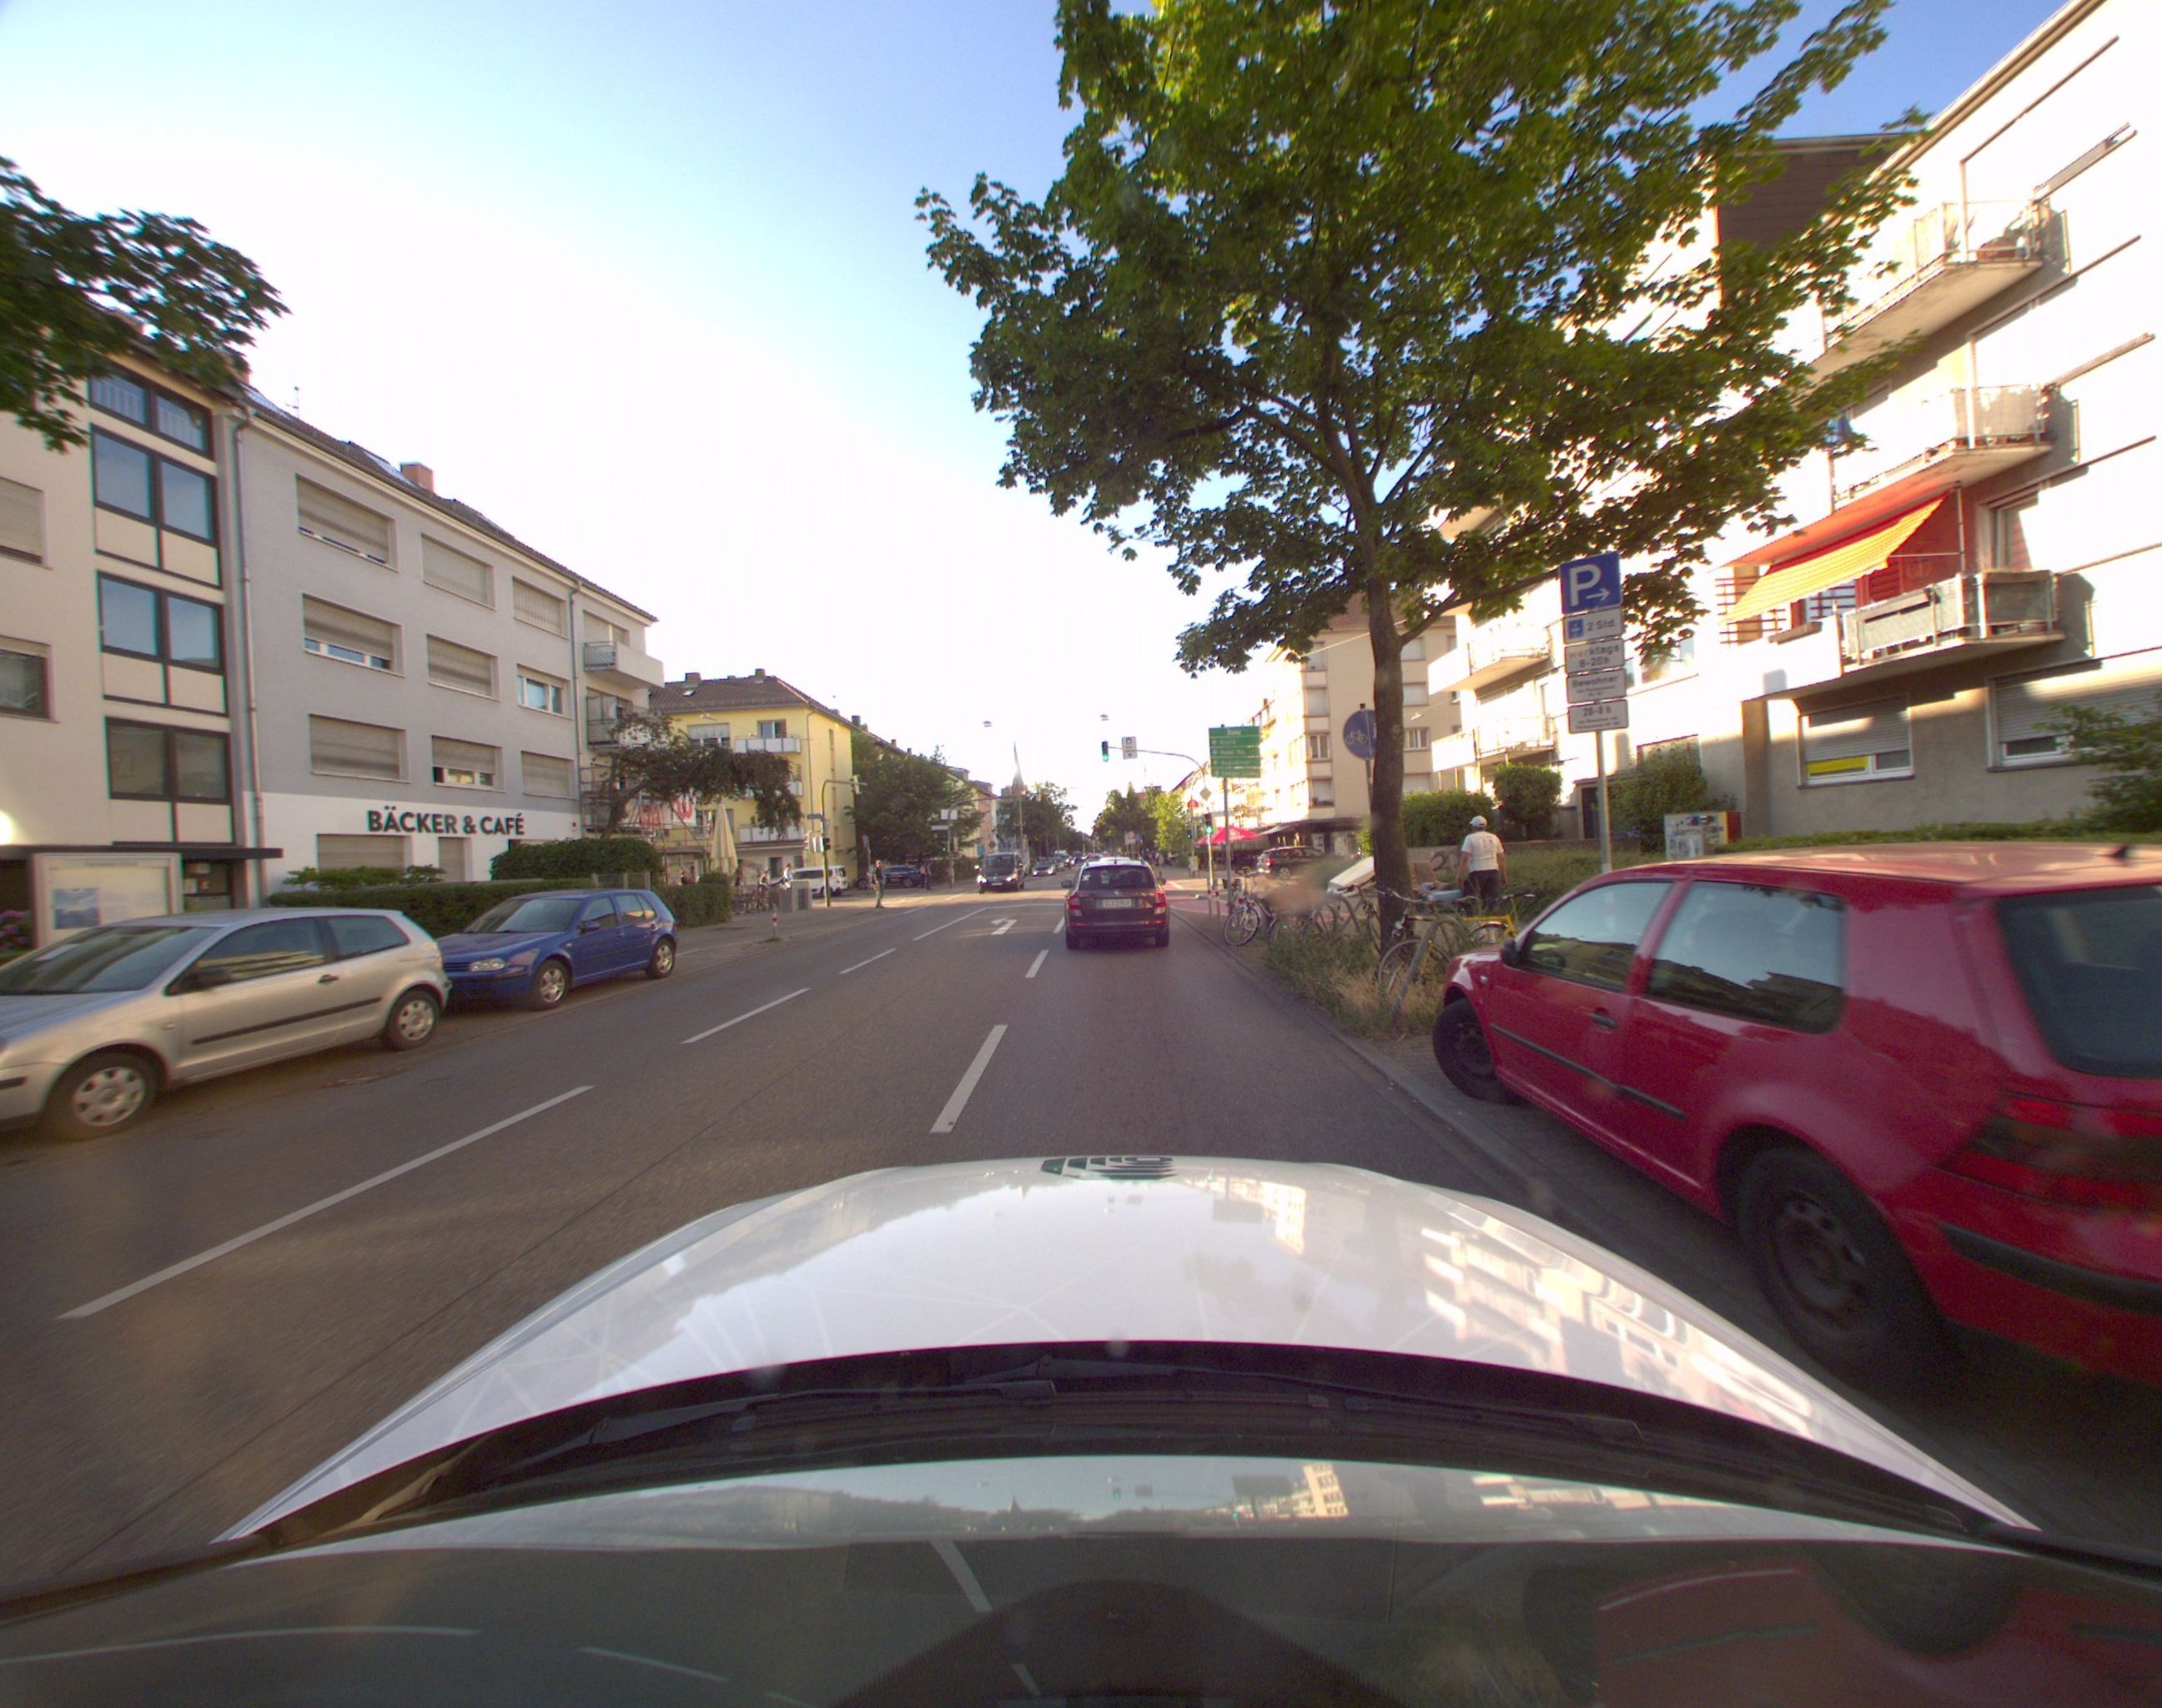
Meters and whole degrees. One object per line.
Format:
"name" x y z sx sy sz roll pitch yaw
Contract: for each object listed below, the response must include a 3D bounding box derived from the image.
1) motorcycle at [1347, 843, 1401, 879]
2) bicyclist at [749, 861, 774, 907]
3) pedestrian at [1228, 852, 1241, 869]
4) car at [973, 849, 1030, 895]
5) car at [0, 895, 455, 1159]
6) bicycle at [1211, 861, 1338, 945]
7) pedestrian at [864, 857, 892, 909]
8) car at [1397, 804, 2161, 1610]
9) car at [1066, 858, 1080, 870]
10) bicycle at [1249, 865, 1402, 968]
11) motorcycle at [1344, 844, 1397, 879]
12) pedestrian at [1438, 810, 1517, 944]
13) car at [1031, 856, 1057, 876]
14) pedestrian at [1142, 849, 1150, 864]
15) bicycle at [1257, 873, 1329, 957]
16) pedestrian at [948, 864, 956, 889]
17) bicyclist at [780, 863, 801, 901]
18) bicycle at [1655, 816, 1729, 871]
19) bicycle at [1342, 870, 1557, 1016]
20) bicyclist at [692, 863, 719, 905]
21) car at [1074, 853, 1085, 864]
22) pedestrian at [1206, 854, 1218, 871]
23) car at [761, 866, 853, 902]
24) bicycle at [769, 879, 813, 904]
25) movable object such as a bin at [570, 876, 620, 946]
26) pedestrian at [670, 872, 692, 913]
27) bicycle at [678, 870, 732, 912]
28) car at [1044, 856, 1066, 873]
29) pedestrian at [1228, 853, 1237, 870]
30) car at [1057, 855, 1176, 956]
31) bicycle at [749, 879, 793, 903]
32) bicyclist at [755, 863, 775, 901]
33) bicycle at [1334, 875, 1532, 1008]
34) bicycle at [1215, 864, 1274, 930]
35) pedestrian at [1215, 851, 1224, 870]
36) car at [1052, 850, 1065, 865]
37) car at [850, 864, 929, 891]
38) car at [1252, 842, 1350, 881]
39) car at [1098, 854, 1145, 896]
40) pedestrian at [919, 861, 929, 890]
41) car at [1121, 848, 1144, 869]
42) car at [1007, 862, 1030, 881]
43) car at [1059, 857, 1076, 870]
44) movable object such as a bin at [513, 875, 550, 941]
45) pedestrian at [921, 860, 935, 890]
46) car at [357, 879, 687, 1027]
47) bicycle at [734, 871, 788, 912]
"motorcycle" 11.930 0.288 33.194 1.904 1.361 0.695 -3 -1 5
"bicyclist" -14.255 1.318 36.335 0.723 2.013 0.843 -3 -1 -2
"pedestrian" 10.936 0.467 57.963 0.726 1.198 0.856 -3 0 2
"car" -3.739 0.813 39.181 1.987 1.908 4.964 -5 0 1
"car" -7.461 1.175 6.707 1.588 1.470 3.804 -1 0 1
"bicycle" 3.076 0.775 13.083 1.824 1.157 0.685 -5 -1 7
"pedestrian" -8.028 1.129 32.268 0.777 1.987 0.821 -3 -1 2
"car" 2.925 0.619 3.492 1.696 1.450 4.017 -5 0 3
"car" -1.124 1.372 116.353 1.697 1.550 4.003 -3 0 2
"bicycle" 3.008 0.766 10.124 1.677 1.107 0.518 -5 -1 7
"motorcycle" 12.104 0.318 34.083 1.904 1.361 0.695 -3 -1 5
"pedestrian" 5.482 0.311 11.301 0.659 1.749 0.774 -5 -1 7
"car" -3.119 1.013 69.253 1.823 1.579 4.001 -3 0 1
"pedestrian" 7.577 0.262 95.013 0.668 1.704 0.806 -3 -1 28
"bicycle" 3.061 0.845 11.648 0.613 1.051 1.583 -3 0 27
"pedestrian" -8.111 1.401 51.230 0.299 1.504 0.641 -3 -1 2
"bicyclist" -14.190 1.368 39.821 0.738 1.823 0.652 -3 0 -8
"bicycle" 14.058 -0.223 18.778 0.354 1.183 1.797 -3 0 2
"bicycle" 3.050 0.726 6.810 1.564 1.104 0.392 -3 0 2
"bicyclist" -16.580 1.311 36.000 0.783 1.799 0.709 -3 -1 -1
"car" -0.276 0.882 162.595 1.986 2.013 4.002 -3 0 2
"pedestrian" 9.284 0.609 57.888 0.675 1.198 0.856 -3 0 2
"car" -15.816 1.717 47.131 4.618 1.811 1.862 -3 0 0
"bicycle" -14.164 1.837 39.832 1.899 1.071 0.717 -3 -1 -8
"movable object such as a bin" -10.931 1.264 18.324 0.590 1.512 0.741 -3 0 3
"pedestrian" -16.978 1.641 34.570 0.578 1.675 0.641 -3 -1 -8
"bicycle" -16.603 1.638 36.002 1.914 1.706 0.757 -3 -1 -2
"car" -2.714 1.081 86.985 1.986 1.610 4.002 -3 0 2
"pedestrian" 10.946 0.535 58.940 0.503 1.176 0.428 -3 -1 1
"car" 0.578 0.794 14.591 1.767 1.489 4.311 -2 0 1
"bicycle" -15.500 1.864 40.708 1.899 1.071 0.717 -3 -1 -8
"bicyclist" -15.785 1.400 40.681 0.738 1.823 0.652 -3 0 -8
"bicycle" 3.220 0.793 7.536 1.564 1.104 0.501 -3 0 2
"bicycle" 3.088 0.786 15.566 0.501 1.147 1.956 -5 -1 -4
"pedestrian" 10.024 0.480 58.840 0.497 1.302 0.506 -3 -1 -2
"car" -4.004 0.656 145.649 1.986 2.478 4.001 -3 0 1
"car" -12.455 1.498 53.088 4.618 1.535 1.862 -2 0 0
"car" 10.055 0.352 37.445 3.972 1.552 1.806 -3 0 1
"car" 1.602 0.793 32.423 1.730 1.571 4.002 -1 0 2
"pedestrian" -9.727 1.323 50.405 0.448 1.797 0.504 -3 -1 2
"car" 4.656 0.404 73.169 1.984 1.772 4.005 -1 0 4
"car" -5.685 1.578 74.395 1.554 1.618 4.002 -3 0 2
"car" -1.661 1.121 100.275 1.781 1.571 4.002 -1 0 2
"movable object such as a bin" -12.319 1.204 18.271 0.390 1.427 0.575 -3 0 0
"pedestrian" -9.410 1.307 50.046 0.613 1.797 0.504 -3 -1 1
"car" -7.343 1.191 11.292 1.642 1.517 4.075 -2 0 1
"bicycle" -14.245 1.672 36.286 2.017 1.706 0.756 -3 -1 -2
